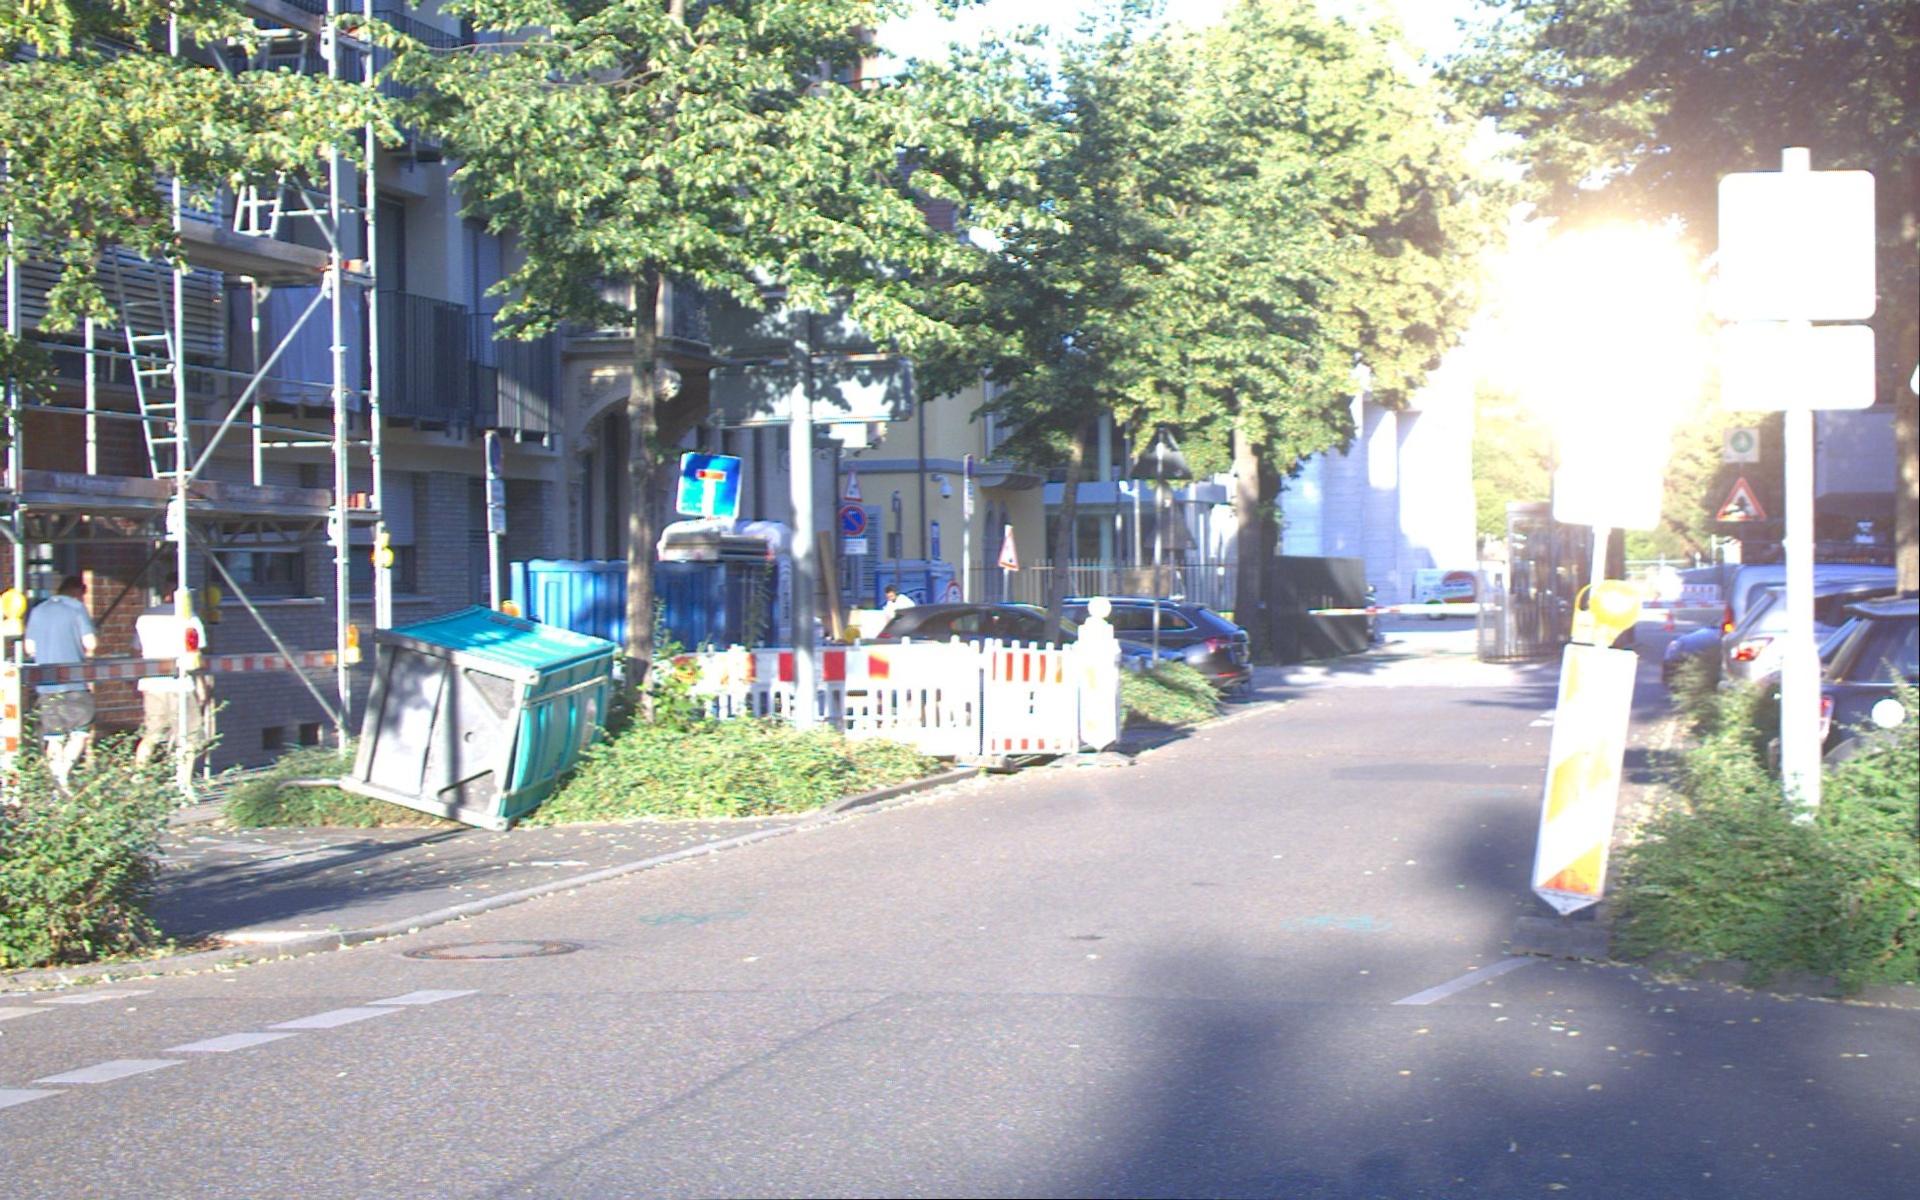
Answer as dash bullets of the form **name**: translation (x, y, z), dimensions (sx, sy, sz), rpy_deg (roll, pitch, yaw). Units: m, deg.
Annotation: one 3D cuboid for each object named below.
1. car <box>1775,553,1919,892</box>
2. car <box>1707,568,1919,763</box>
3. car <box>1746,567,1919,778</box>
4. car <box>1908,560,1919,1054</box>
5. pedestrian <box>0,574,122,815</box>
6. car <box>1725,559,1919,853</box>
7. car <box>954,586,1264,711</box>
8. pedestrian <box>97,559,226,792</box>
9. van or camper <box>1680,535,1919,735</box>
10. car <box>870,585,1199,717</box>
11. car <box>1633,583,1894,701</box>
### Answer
- **car**: translation (6.291, 0.622, 17.634), dimensions (3.997, 1.664, 1.857), rpy_deg (1, 0, 11)
- **car**: translation (8.597, 0.571, 30.682), dimensions (3.687, 1.664, 1.857), rpy_deg (1, 0, 11)
- **car**: translation (8.383, 0.583, 28.177), dimensions (3.687, 1.664, 1.857), rpy_deg (1, 0, 11)
- **car**: translation (4.664, 0.649, 10.121), dimensions (3.471, 1.570, 1.507), rpy_deg (0, 0, 10)
- **pedestrian**: translation (-6.781, 0.699, 25.744), dimensions (0.741, 1.777, 0.656), rpy_deg (-1, 0, 13)
- **car**: translation (6.461, 0.616, 20.329), dimensions (3.687, 1.664, 1.857), rpy_deg (1, 0, 11)
- **car**: translation (2.089, 0.657, 47.837), dimensions (3.990, 1.678, 1.889), rpy_deg (0, 0, 15)
- **pedestrian**: translation (-6.185, 0.579, 26.666), dimensions (0.741, 1.777, 0.656), rpy_deg (-1, 0, 11)
- **van or camper**: translation (9.762, 0.357, 35.612), dimensions (4.442, 1.999, 1.857), rpy_deg (1, 0, 11)
- **car**: translation (1.001, 0.660, 45.340), dimensions (3.990, 1.678, 1.889), rpy_deg (0, 0, 15)
- **car**: translation (11.263, 0.567, 48.078), dimensions (3.687, 1.563, 1.857), rpy_deg (0, 1, -44)
